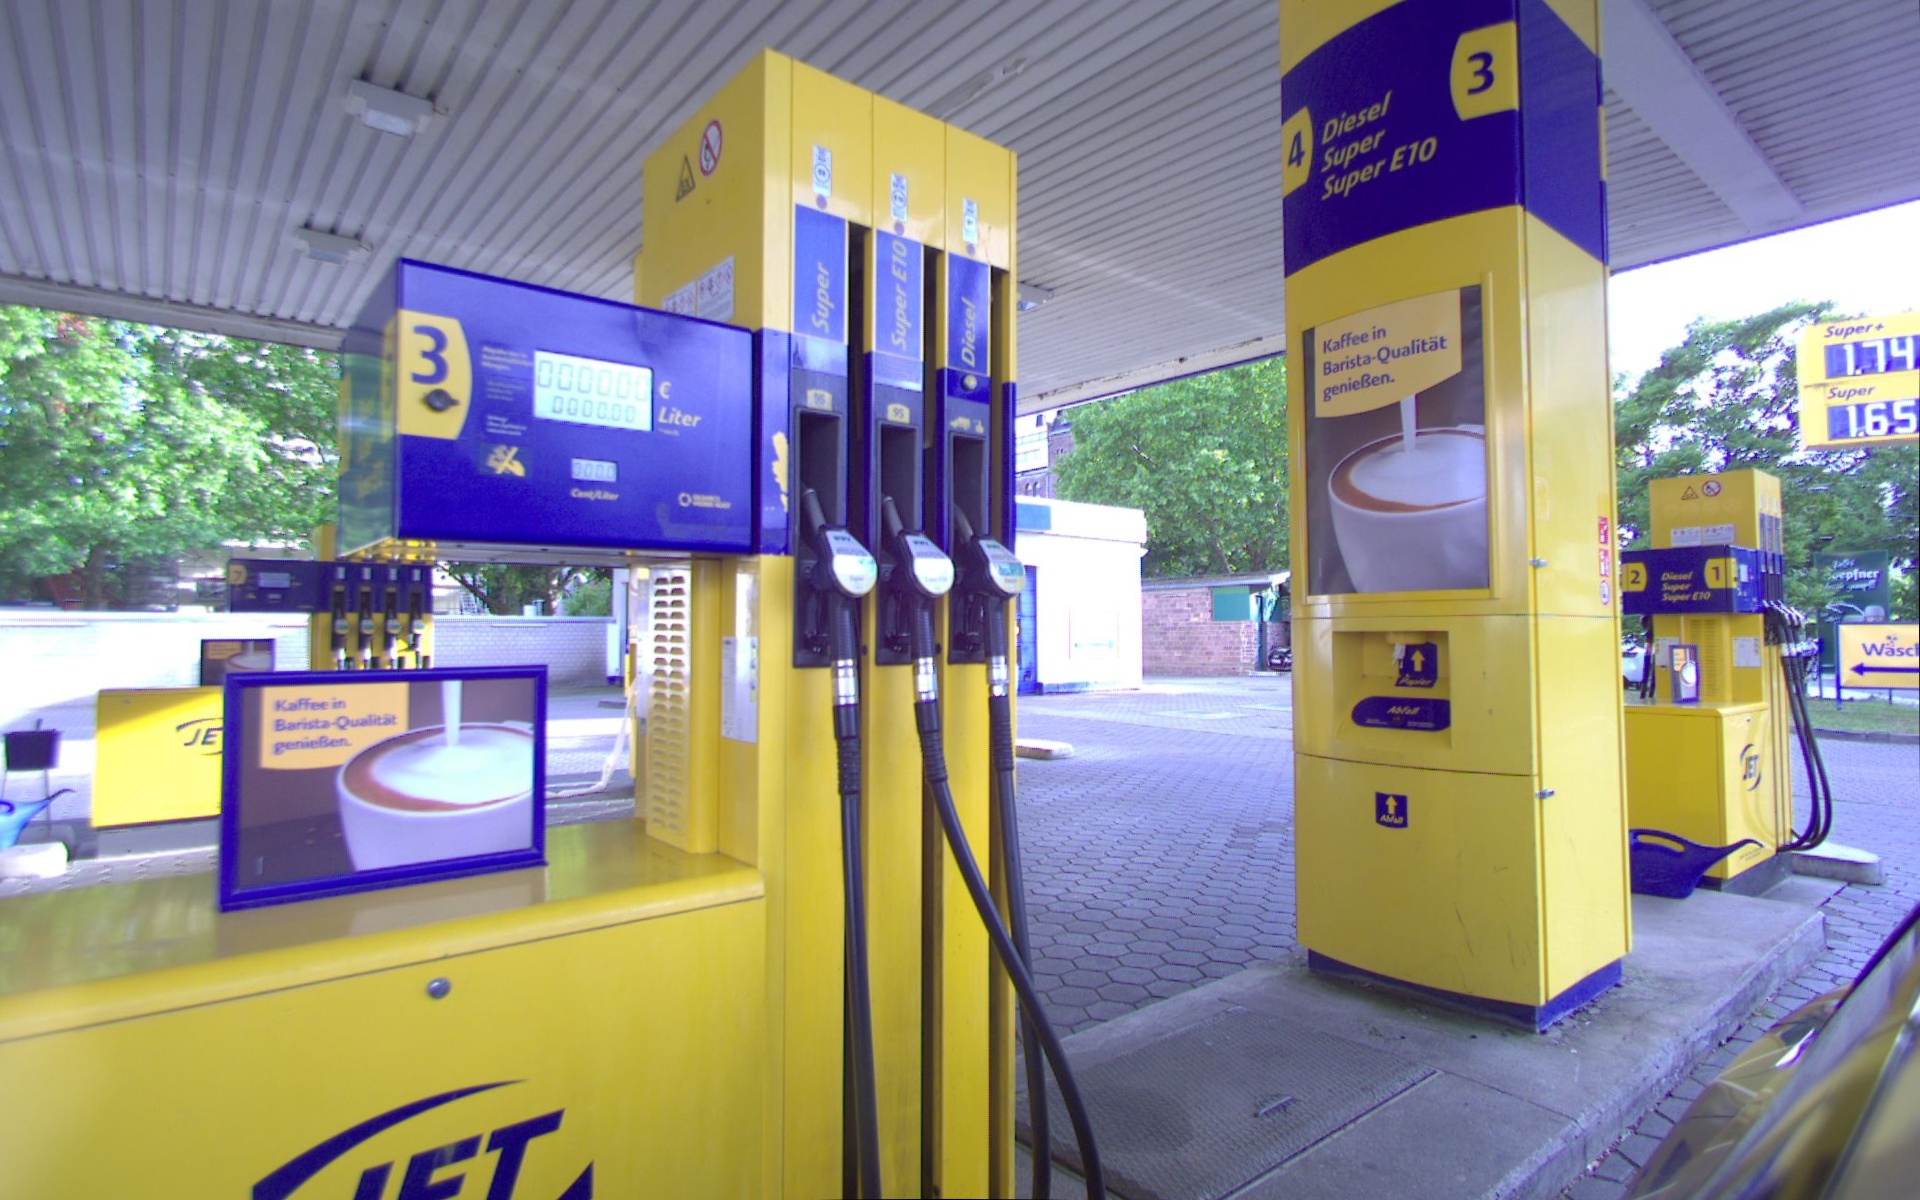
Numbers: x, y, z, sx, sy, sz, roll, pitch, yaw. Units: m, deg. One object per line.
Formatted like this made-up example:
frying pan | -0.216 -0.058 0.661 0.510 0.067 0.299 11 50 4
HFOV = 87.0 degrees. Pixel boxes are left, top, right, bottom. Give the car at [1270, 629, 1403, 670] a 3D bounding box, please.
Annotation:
car | 12.834 1.699 34.494 4.134 1.294 1.751 2 -3 -22

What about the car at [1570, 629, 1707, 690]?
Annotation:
car | 18.225 1.562 27.159 3.923 1.529 1.740 2 -3 -35

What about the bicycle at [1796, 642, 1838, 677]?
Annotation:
bicycle | 33.030 2.275 39.029 0.728 1.274 1.921 -3 -3 26

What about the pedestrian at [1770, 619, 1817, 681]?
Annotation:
pedestrian | 28.243 1.671 34.315 0.923 2.040 1.205 0 -2 25

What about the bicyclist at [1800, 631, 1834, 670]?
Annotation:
bicyclist | 32.994 1.947 38.979 0.728 1.479 0.908 -3 -4 26

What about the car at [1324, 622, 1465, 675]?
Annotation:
car | 13.793 1.548 32.145 4.134 1.544 1.791 2 -3 -24

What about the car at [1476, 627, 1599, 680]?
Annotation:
car | 17.560 1.640 30.746 3.923 1.529 1.740 3 -3 -35
